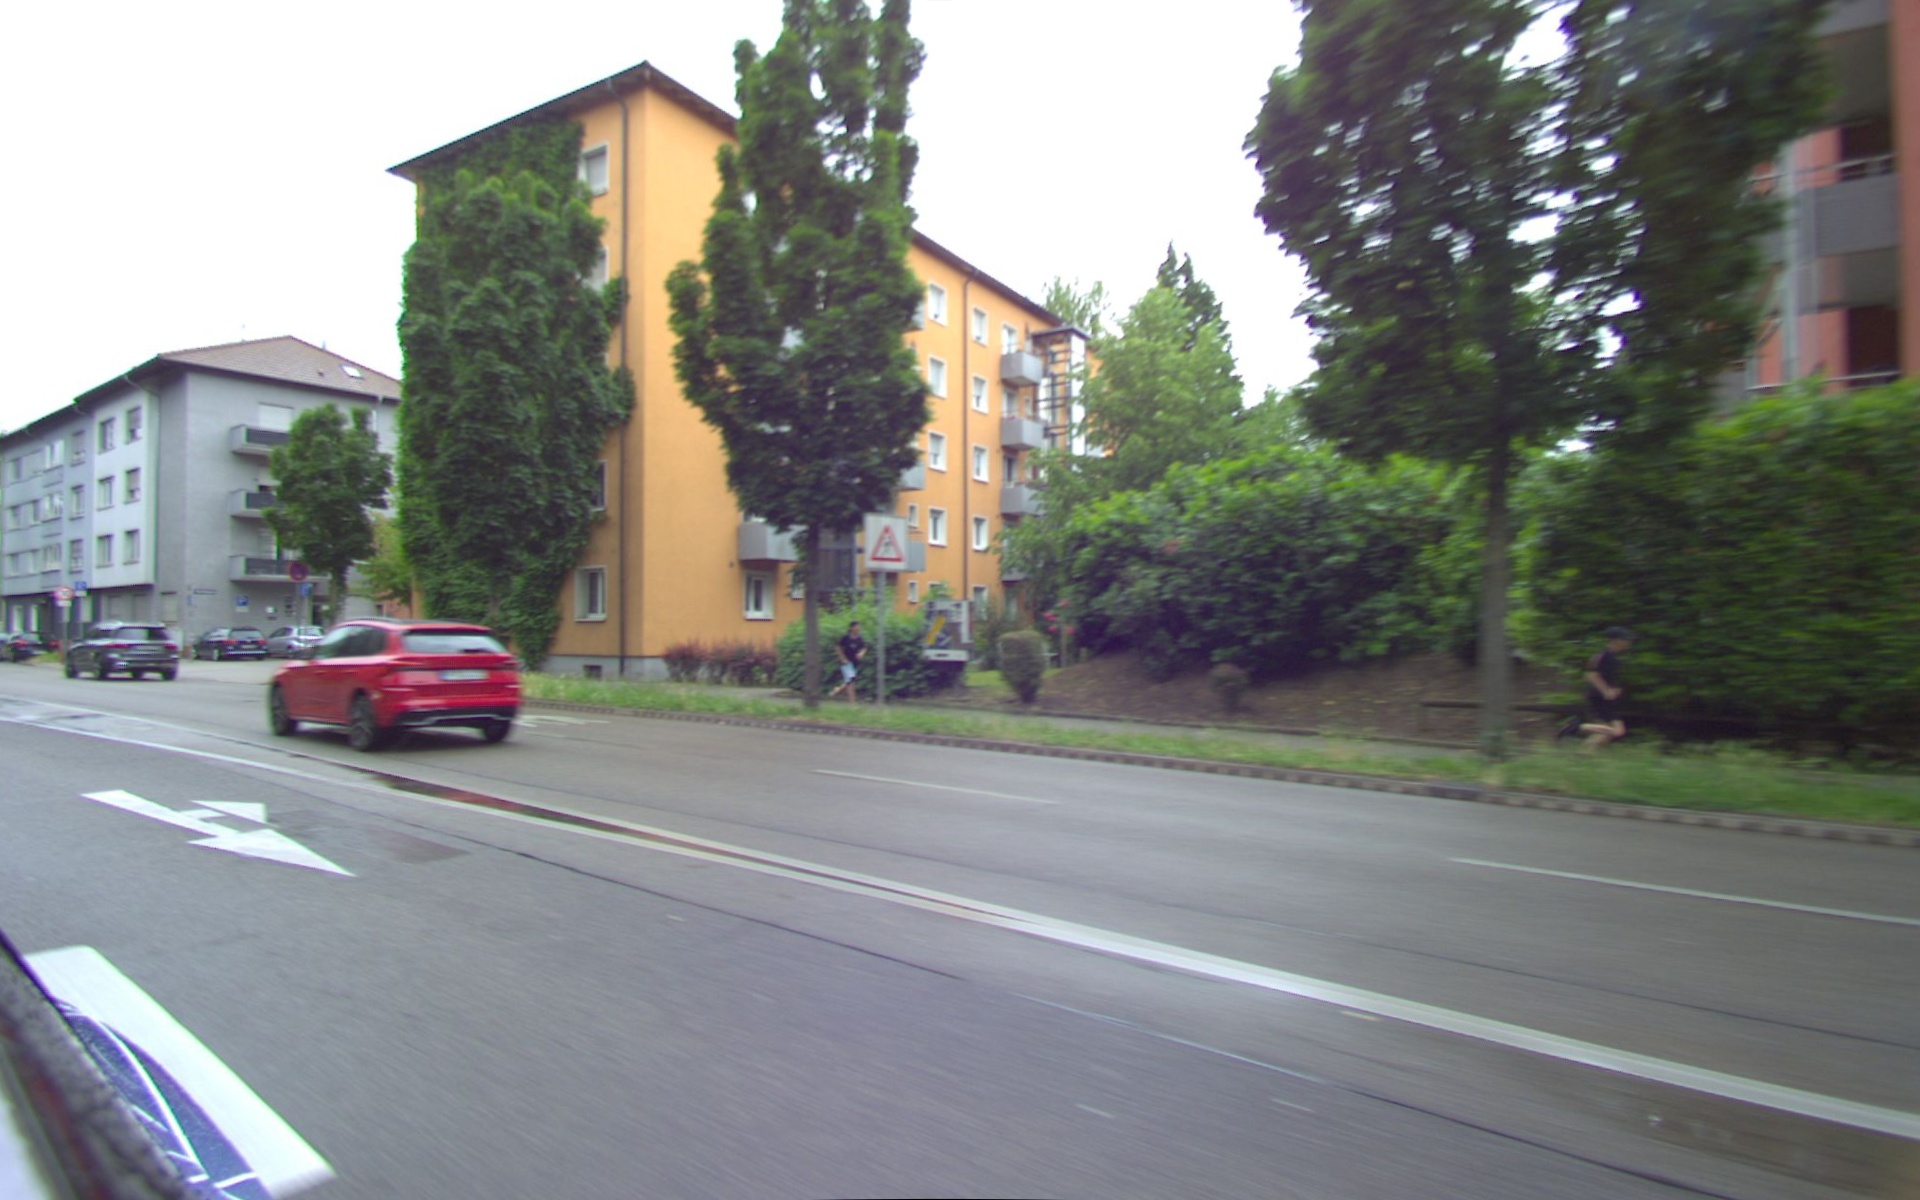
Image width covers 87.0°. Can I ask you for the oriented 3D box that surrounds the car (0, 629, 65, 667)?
[{"bbox_3d":[-43.141,2.187,46.749,4.239,1.556,1.830,-1,1,36],"label":"car"}]

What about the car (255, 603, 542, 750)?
[{"bbox_3d":[-7.178,0.880,12.793,4.135,1.575,1.660,-2,-2,37],"label":"car"}]

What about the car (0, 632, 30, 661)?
[{"bbox_3d":[-47.691,2.303,50.013,3.917,1.394,1.707,-1,-3,35],"label":"car"}]

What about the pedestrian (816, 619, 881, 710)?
[{"bbox_3d":[-1.846,1.053,16.756,0.834,1.460,0.665,-2,-3,37],"label":"pedestrian"}]

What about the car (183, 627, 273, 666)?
[{"bbox_3d":[-31.839,1.985,43.984,4.625,1.497,1.835,-1,0,36],"label":"car"}]

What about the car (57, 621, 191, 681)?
[{"bbox_3d":[-24.426,1.483,29.523,4.492,1.643,1.905,-2,-4,36],"label":"car"}]

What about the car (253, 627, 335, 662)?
[{"bbox_3d":[-30.431,2.002,46.197,4.220,1.537,1.714,-1,-3,36],"label":"car"}]

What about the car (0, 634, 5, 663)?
[{"bbox_3d":[-52.240,2.524,53.487,4.305,1.492,1.707,-1,-4,35],"label":"car"}]

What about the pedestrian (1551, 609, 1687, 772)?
[{"bbox_3d":[6.598,0.872,10.144,1.068,1.529,0.686,-2,-3,37],"label":"pedestrian"}]
